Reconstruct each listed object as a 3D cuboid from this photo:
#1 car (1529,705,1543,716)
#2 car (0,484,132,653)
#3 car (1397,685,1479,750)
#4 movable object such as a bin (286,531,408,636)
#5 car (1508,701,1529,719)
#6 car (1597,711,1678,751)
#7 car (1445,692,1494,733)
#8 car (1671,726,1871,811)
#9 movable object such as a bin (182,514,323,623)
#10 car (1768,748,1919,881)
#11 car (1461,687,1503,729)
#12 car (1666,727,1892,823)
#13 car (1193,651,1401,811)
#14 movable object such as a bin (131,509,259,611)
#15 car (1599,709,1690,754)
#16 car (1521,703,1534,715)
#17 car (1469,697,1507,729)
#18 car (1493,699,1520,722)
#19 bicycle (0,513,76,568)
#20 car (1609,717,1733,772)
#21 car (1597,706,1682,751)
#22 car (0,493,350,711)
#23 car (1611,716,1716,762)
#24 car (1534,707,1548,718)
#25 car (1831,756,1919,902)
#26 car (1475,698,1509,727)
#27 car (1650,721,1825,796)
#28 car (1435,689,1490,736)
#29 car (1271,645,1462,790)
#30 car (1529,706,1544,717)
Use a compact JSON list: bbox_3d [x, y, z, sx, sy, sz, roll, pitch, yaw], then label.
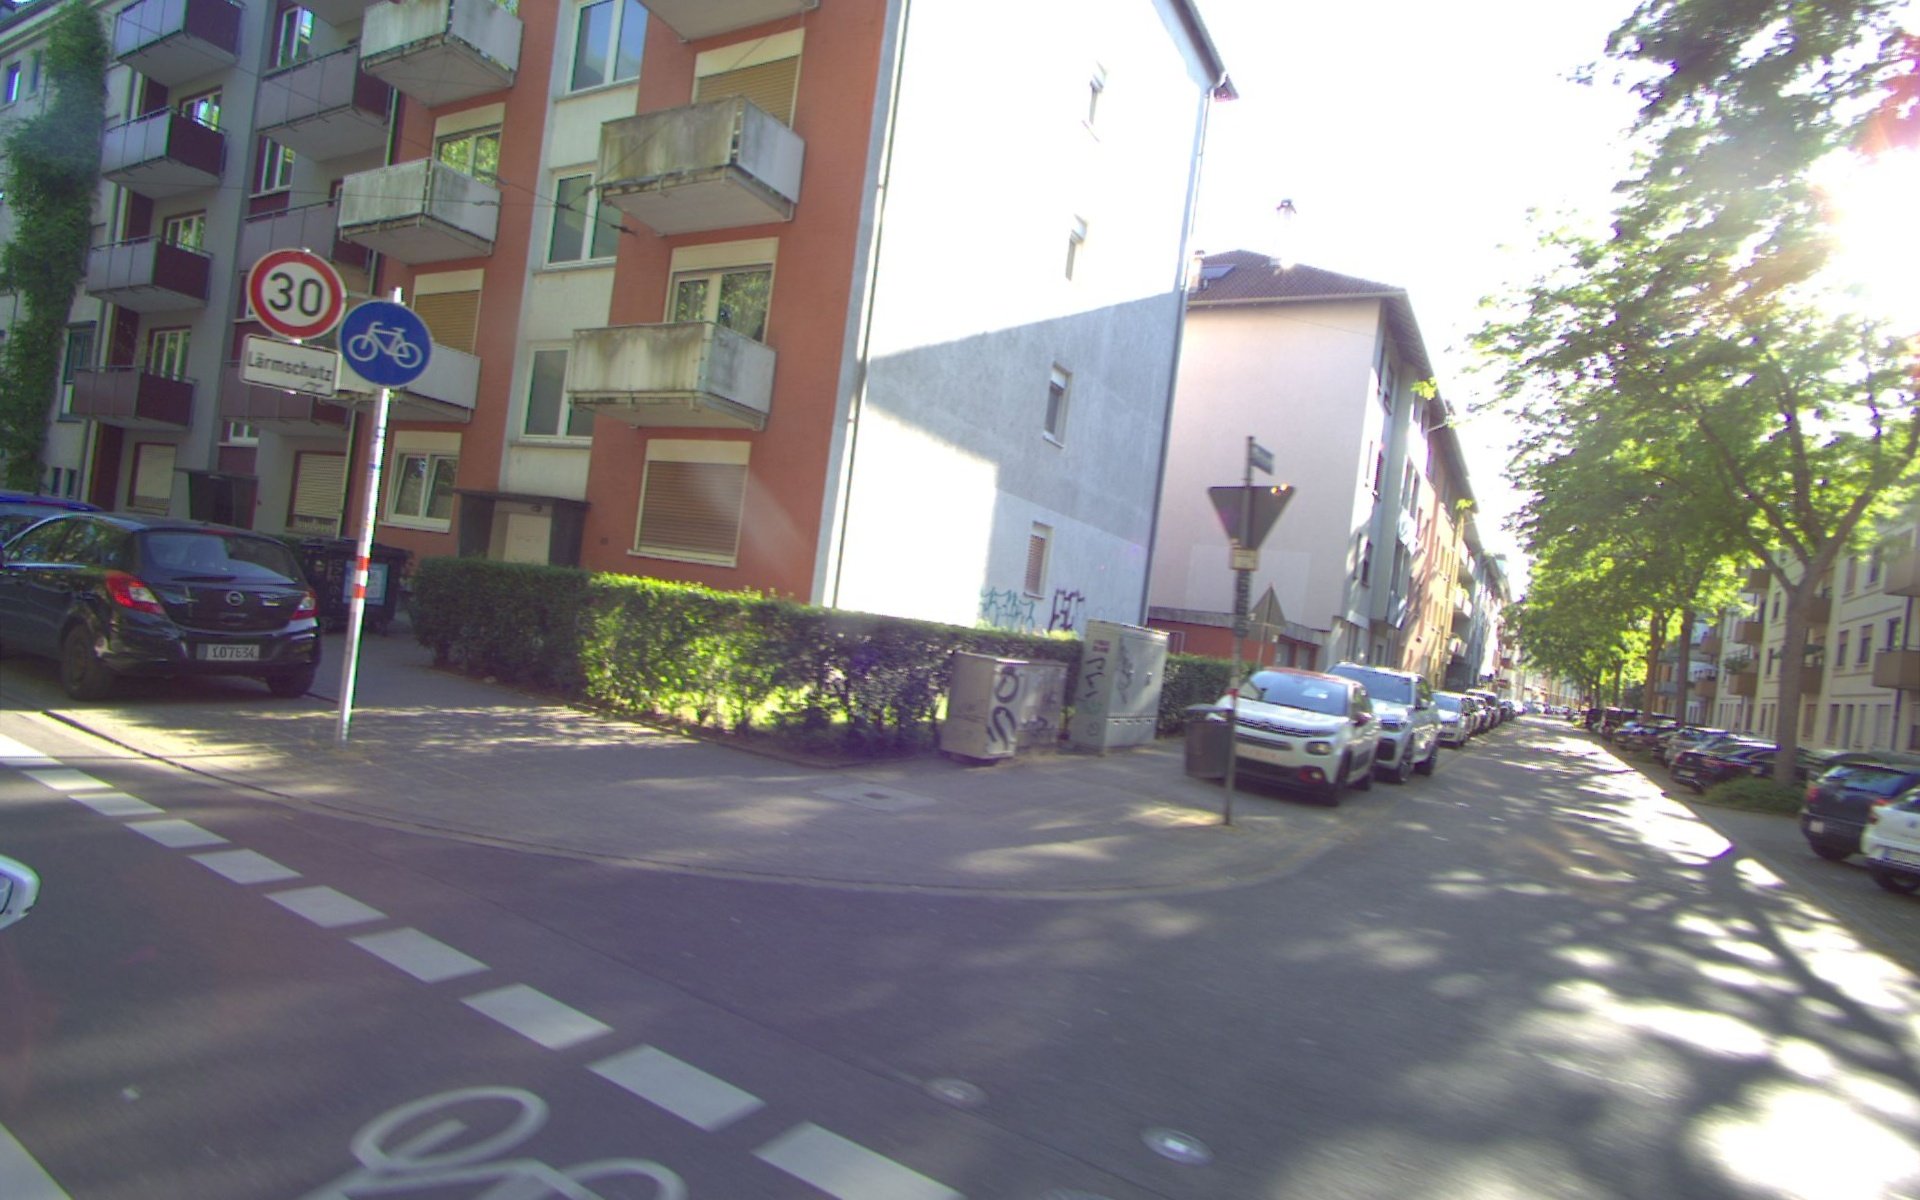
[{"bbox_3d":[90.185,17.349,157.545,1.506,1.506,3.296,7,-1,36],"label":"car"},{"bbox_3d":[-10.978,-0.485,11.149,3.690,1.608,1.529,6,-2,32],"label":"car"},{"bbox_3d":[13.566,3.303,28.461,1.557,1.506,3.385,7,-1,33],"label":"car"},{"bbox_3d":[-8.964,-0.226,14.739,0.762,1.342,1.155,7,-2,31],"label":"movable object such as a bin"},{"bbox_3d":[54.635,10.724,98.420,1.412,1.506,3.385,7,-1,33],"label":"car"},{"bbox_3d":[39.814,7.677,59.202,3.723,1.721,1.663,6,-2,32],"label":"car"},{"bbox_3d":[21.794,4.797,42.964,1.412,1.506,3.385,7,-1,33],"label":"car"},{"bbox_3d":[20.886,4.308,26.120,3.723,1.457,1.663,6,-2,32],"label":"car"},{"bbox_3d":[-10.393,-0.461,14.775,1.693,1.342,0.969,7,-2,32],"label":"movable object such as a bin"},{"bbox_3d":[13.948,3.159,14.000,3.872,1.478,1.667,8,-1,3],"label":"car"},{"bbox_3d":[26.641,5.493,51.308,1.412,1.896,3.385,7,-1,33],"label":"car"},{"bbox_3d":[18.716,3.963,23.230,3.723,1.457,1.663,6,-2,32],"label":"car"},{"bbox_3d":[4.502,1.642,13.046,1.535,1.500,3.921,10,0,31],"label":"car"},{"bbox_3d":[-11.959,-0.626,15.715,1.654,1.342,0.925,7,-2,32],"label":"movable object such as a bin"},{"bbox_3d":[36.376,6.978,53.559,3.723,1.738,1.663,6,-2,32],"label":"car"},{"bbox_3d":[85.978,16.543,152.418,1.505,1.506,3.299,7,-1,32],"label":"car"},{"bbox_3d":[29.110,6.221,55.401,1.412,1.506,3.385,7,-1,33],"label":"car"},{"bbox_3d":[41.375,8.337,76.161,1.412,1.506,3.385,7,-1,33],"label":"car"},{"bbox_3d":[-20.385,-1.308,21.671,0.469,1.042,1.893,7,1,36],"label":"bicycle"},{"bbox_3d":[27.722,5.619,39.385,3.723,1.457,1.663,6,-2,32],"label":"car"},{"bbox_3d":[38.487,7.286,57.114,3.723,1.937,1.663,6,-2,32],"label":"car"},{"bbox_3d":[-7.512,-0.074,9.099,3.850,1.480,1.735,7,1,31],"label":"car"},{"bbox_3d":[32.181,6.345,46.152,3.723,1.457,1.663,6,-2,32],"label":"car"},{"bbox_3d":[99.141,19.200,171.666,1.508,1.506,3.293,7,-1,39],"label":"car"},{"bbox_3d":[12.624,2.871,11.362,3.872,1.478,1.728,8,-1,3],"label":"car"},{"bbox_3d":[32.147,6.785,60.792,1.412,1.506,3.385,7,-1,33],"label":"car"},{"bbox_3d":[22.462,4.548,29.249,3.723,1.457,1.663,6,-2,32],"label":"car"},{"bbox_3d":[19.337,4.325,38.677,1.412,1.506,3.385,7,-1,33],"label":"car"},{"bbox_3d":[7.098,1.967,17.227,1.972,1.814,4.728,10,0,33],"label":"car"},{"bbox_3d":[95.155,18.400,166.023,1.507,1.506,3.295,7,-1,37],"label":"car"}]
